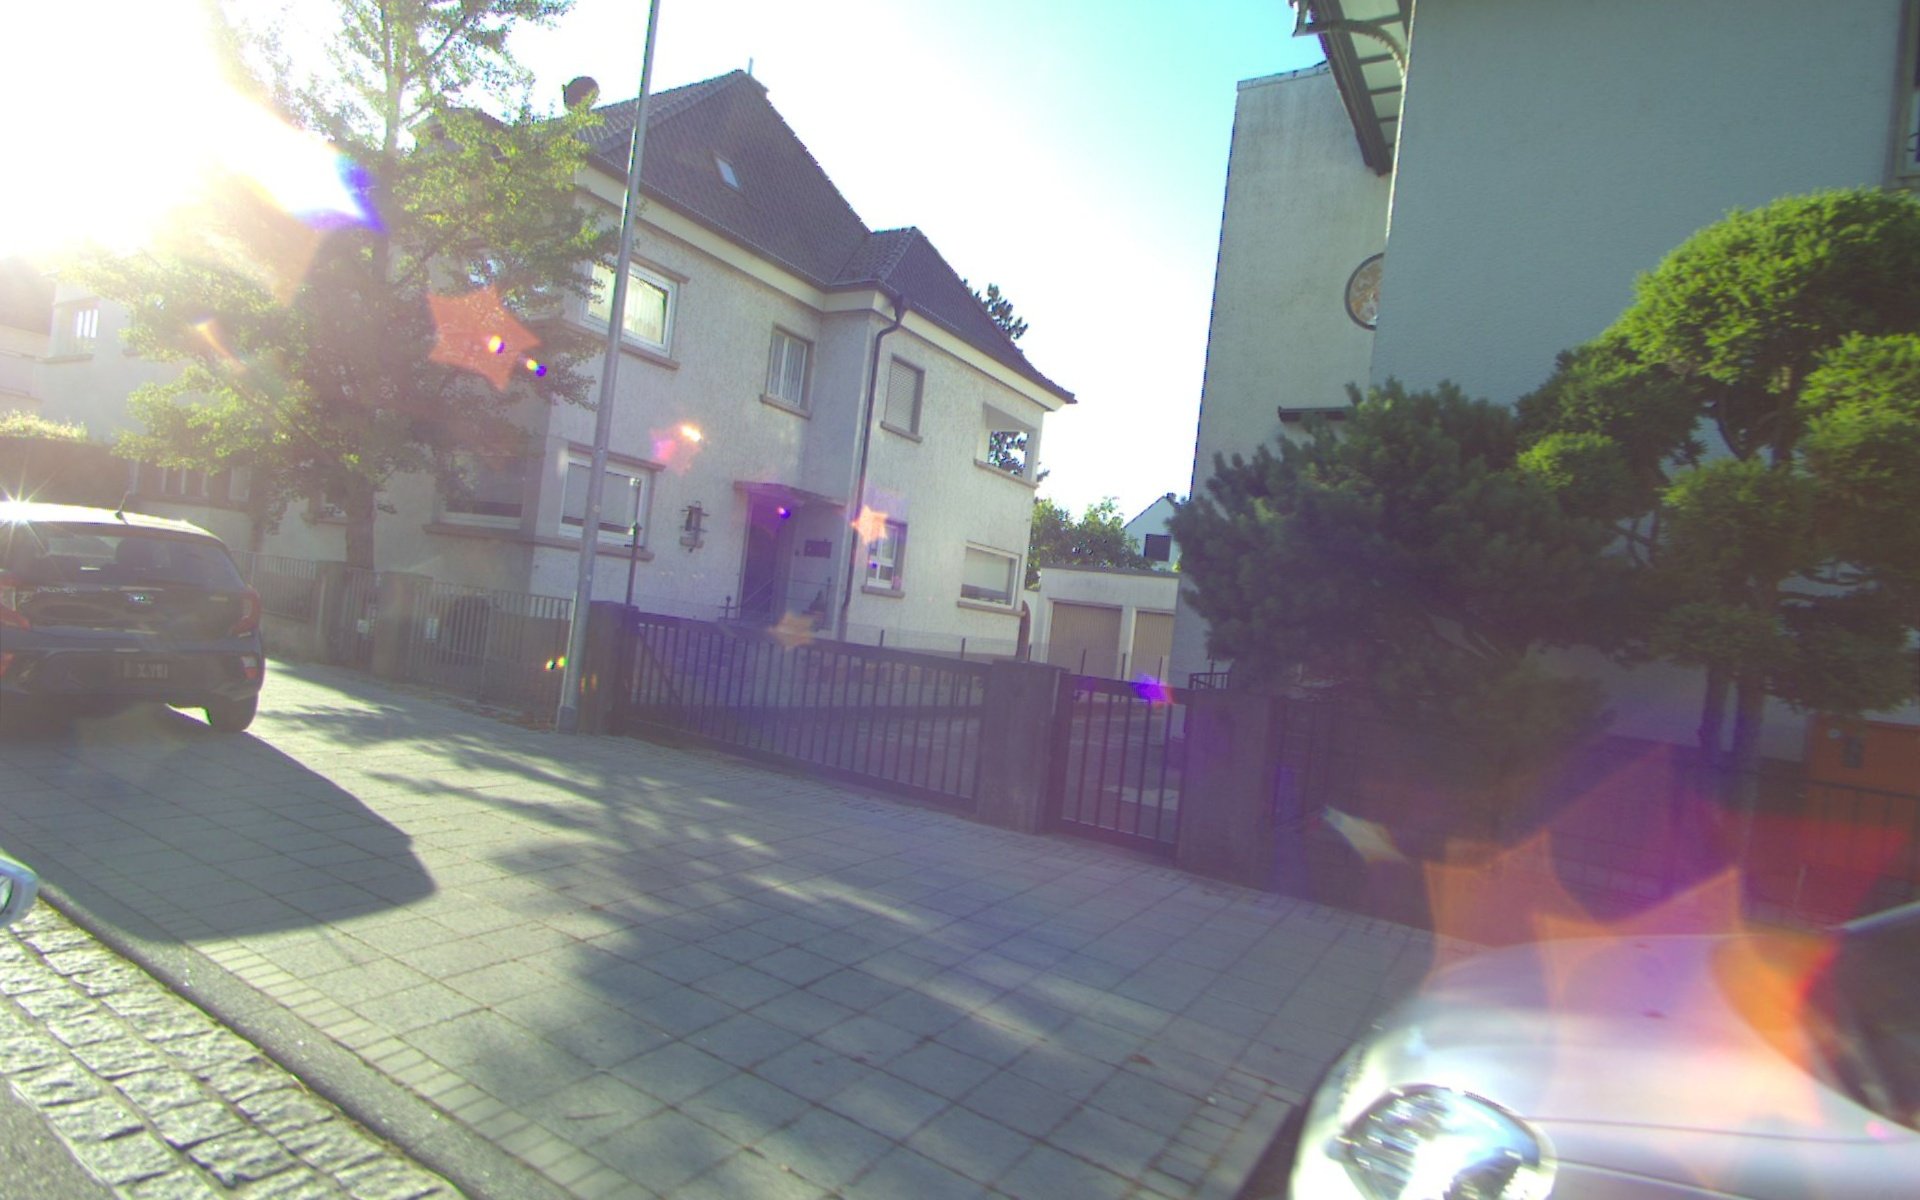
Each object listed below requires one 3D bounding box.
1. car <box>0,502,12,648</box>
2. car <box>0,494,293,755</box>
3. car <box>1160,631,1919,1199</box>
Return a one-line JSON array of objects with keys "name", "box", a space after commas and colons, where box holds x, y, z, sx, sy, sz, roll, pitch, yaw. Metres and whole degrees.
[{"name": "car", "box": [-11.207, -0.407, 9.805, 4.127, 1.467, 1.738, 6, 0, 31]}, {"name": "car", "box": [-6.668, 0.045, 7.413, 3.658, 1.512, 1.657, 6, 0, 36]}, {"name": "car", "box": [2.284, 1.035, 1.428, 3.573, 1.524, 1.628, 7, 1, 33]}]
